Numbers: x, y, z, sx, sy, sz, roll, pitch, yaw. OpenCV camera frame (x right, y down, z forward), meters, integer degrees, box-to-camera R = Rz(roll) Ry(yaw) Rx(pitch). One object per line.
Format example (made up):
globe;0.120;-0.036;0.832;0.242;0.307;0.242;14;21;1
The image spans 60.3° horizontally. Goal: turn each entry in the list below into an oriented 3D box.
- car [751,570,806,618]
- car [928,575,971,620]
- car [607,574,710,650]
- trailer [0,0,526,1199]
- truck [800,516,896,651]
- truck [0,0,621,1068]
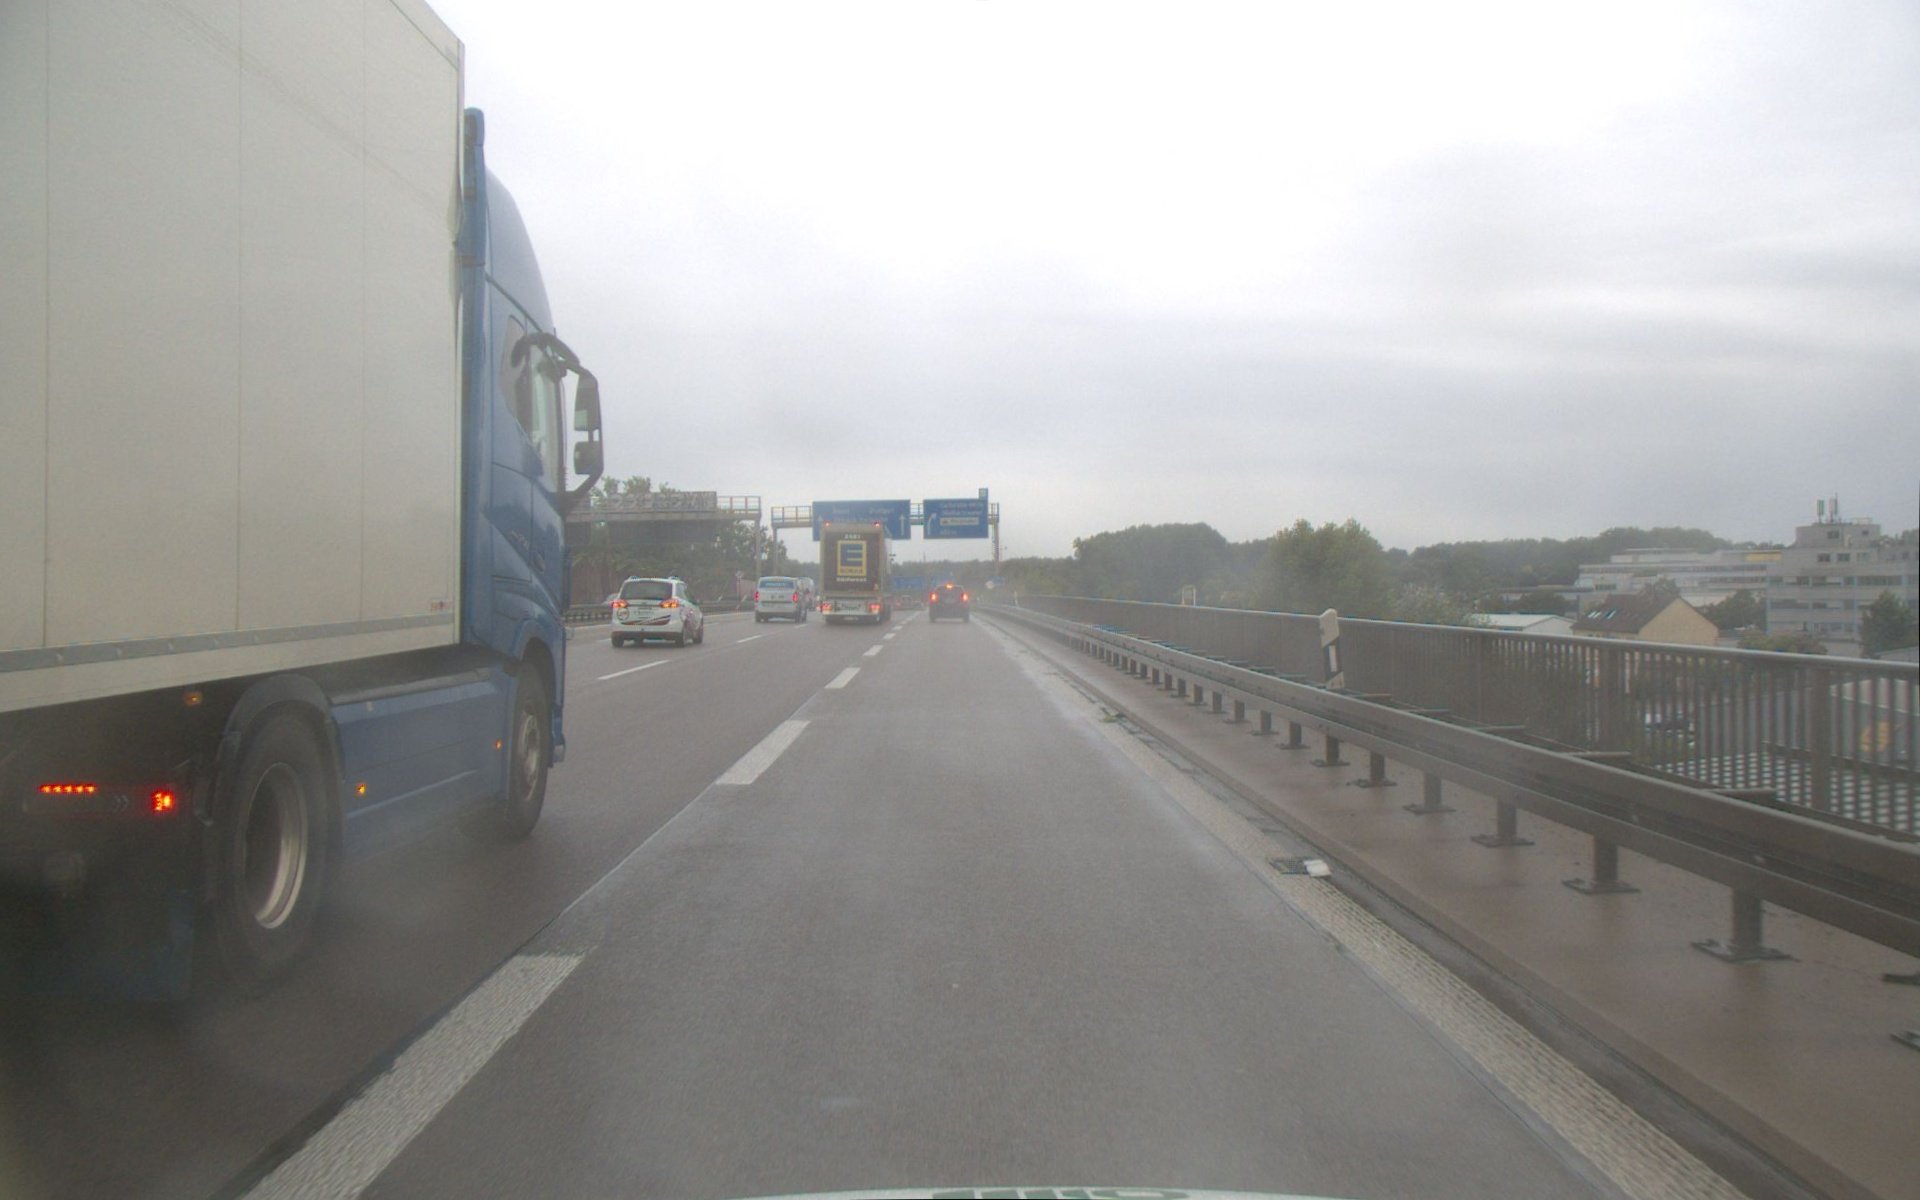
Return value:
car;-7.928;-0.254;72.493;2.007;1.983;3.999;1;0;-1
car;-0.461;-0.109;76.040;1.858;1.983;4.000;1;0;0
car;-7.445;0.294;41.180;1.855;1.754;3.999;1;0;-1
trailer;-3.386;-0.642;1.366;2.295;4.230;14.825;1;1;-1
truck;-4.639;-0.632;70.530;3.462;5.274;9.890;1;0;-1
truck;-3.492;-0.707;8.305;2.295;4.230;6.345;1;1;-1
